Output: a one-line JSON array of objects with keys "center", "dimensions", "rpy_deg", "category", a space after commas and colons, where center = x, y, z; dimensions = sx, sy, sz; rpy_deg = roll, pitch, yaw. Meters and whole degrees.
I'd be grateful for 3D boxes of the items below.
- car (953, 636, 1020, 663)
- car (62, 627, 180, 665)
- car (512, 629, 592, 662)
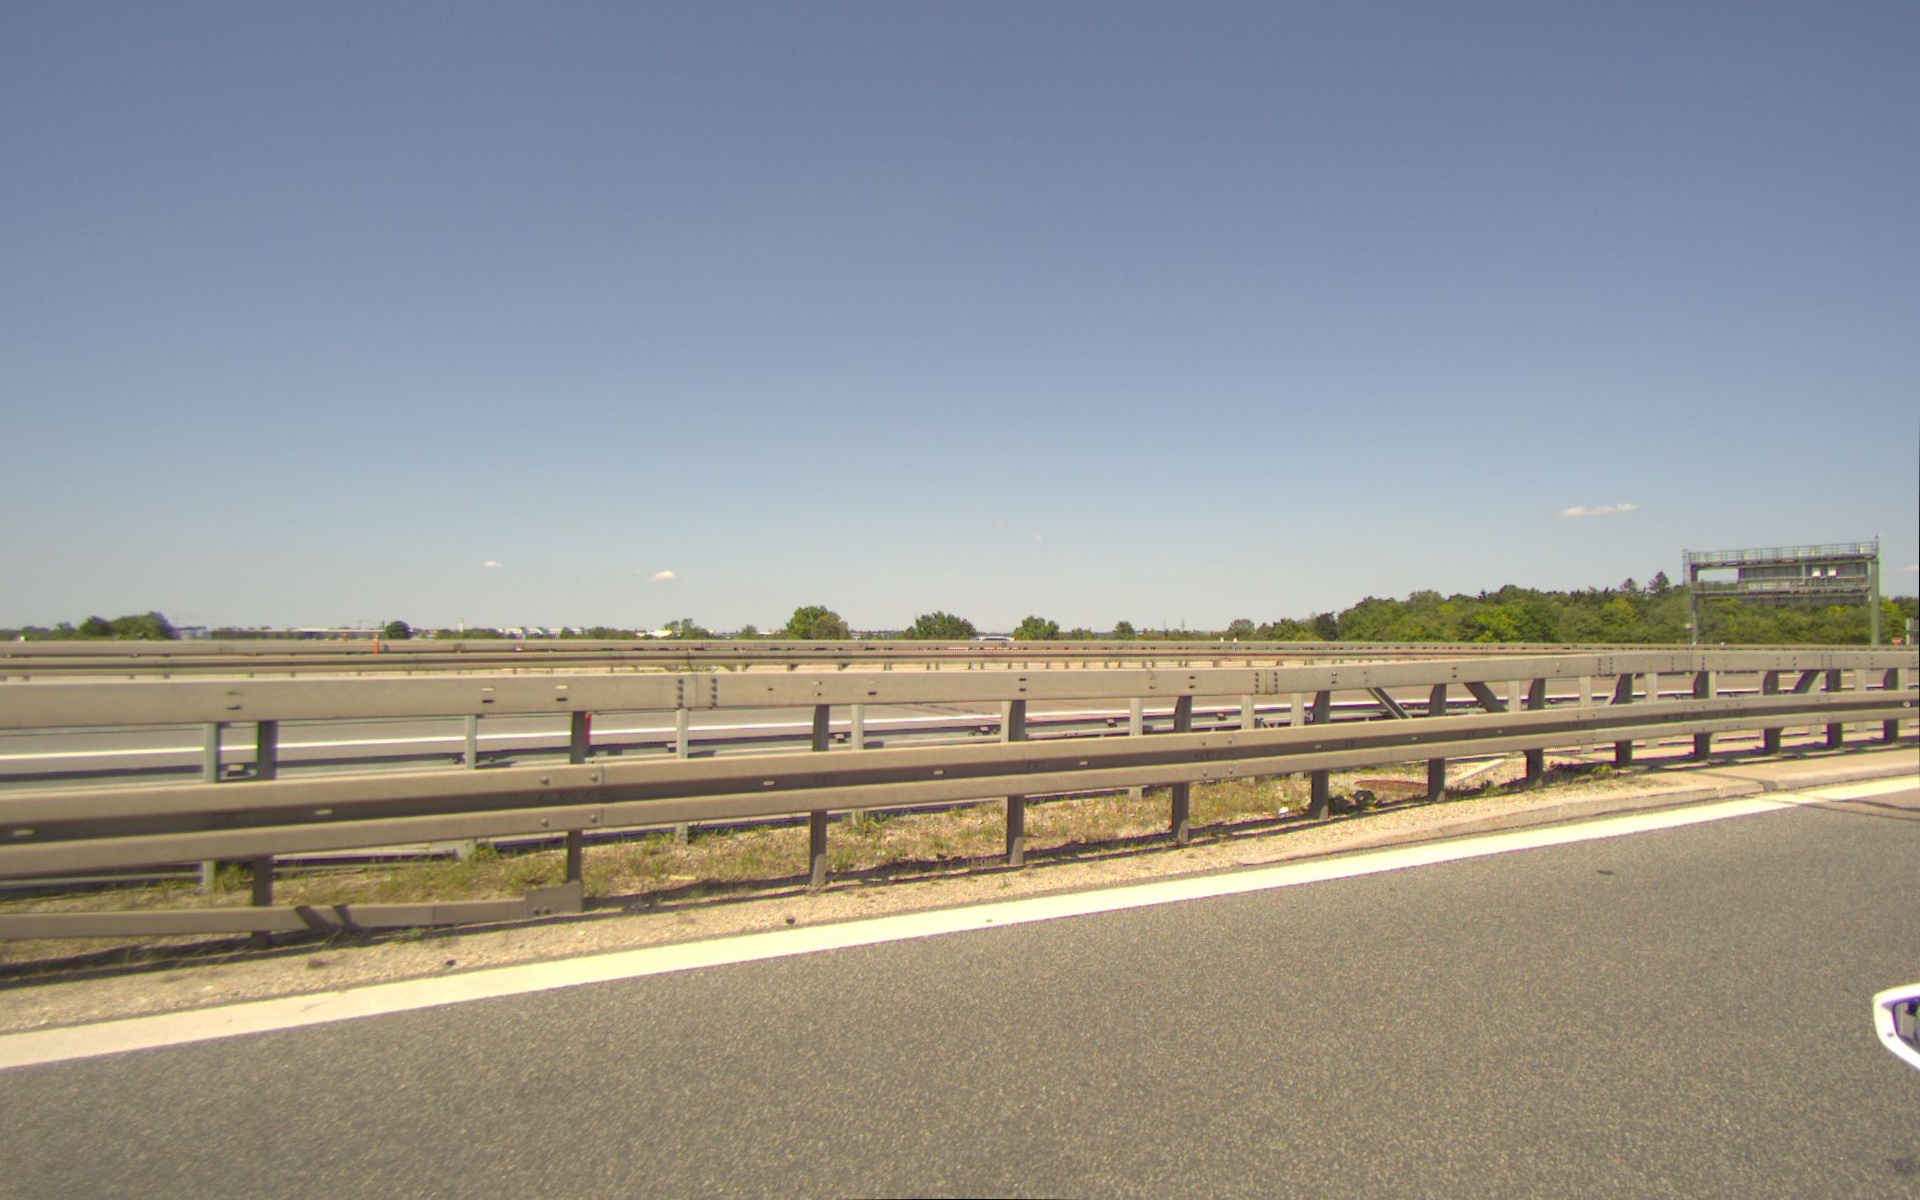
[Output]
[{"center": [1.452, 2.728, 55.407], "dimensions": [3.302, 1.371, 1.572], "rpy_deg": [4, -3, -28], "category": "car"}, {"center": [-33.926, 1.853, 40.722], "dimensions": [3.302, 1.371, 1.572], "rpy_deg": [4, -3, -28], "category": "car"}, {"center": [-19.085, 2.146, 47.030], "dimensions": [3.302, 1.371, 1.572], "rpy_deg": [4, -3, -28], "category": "car"}]
